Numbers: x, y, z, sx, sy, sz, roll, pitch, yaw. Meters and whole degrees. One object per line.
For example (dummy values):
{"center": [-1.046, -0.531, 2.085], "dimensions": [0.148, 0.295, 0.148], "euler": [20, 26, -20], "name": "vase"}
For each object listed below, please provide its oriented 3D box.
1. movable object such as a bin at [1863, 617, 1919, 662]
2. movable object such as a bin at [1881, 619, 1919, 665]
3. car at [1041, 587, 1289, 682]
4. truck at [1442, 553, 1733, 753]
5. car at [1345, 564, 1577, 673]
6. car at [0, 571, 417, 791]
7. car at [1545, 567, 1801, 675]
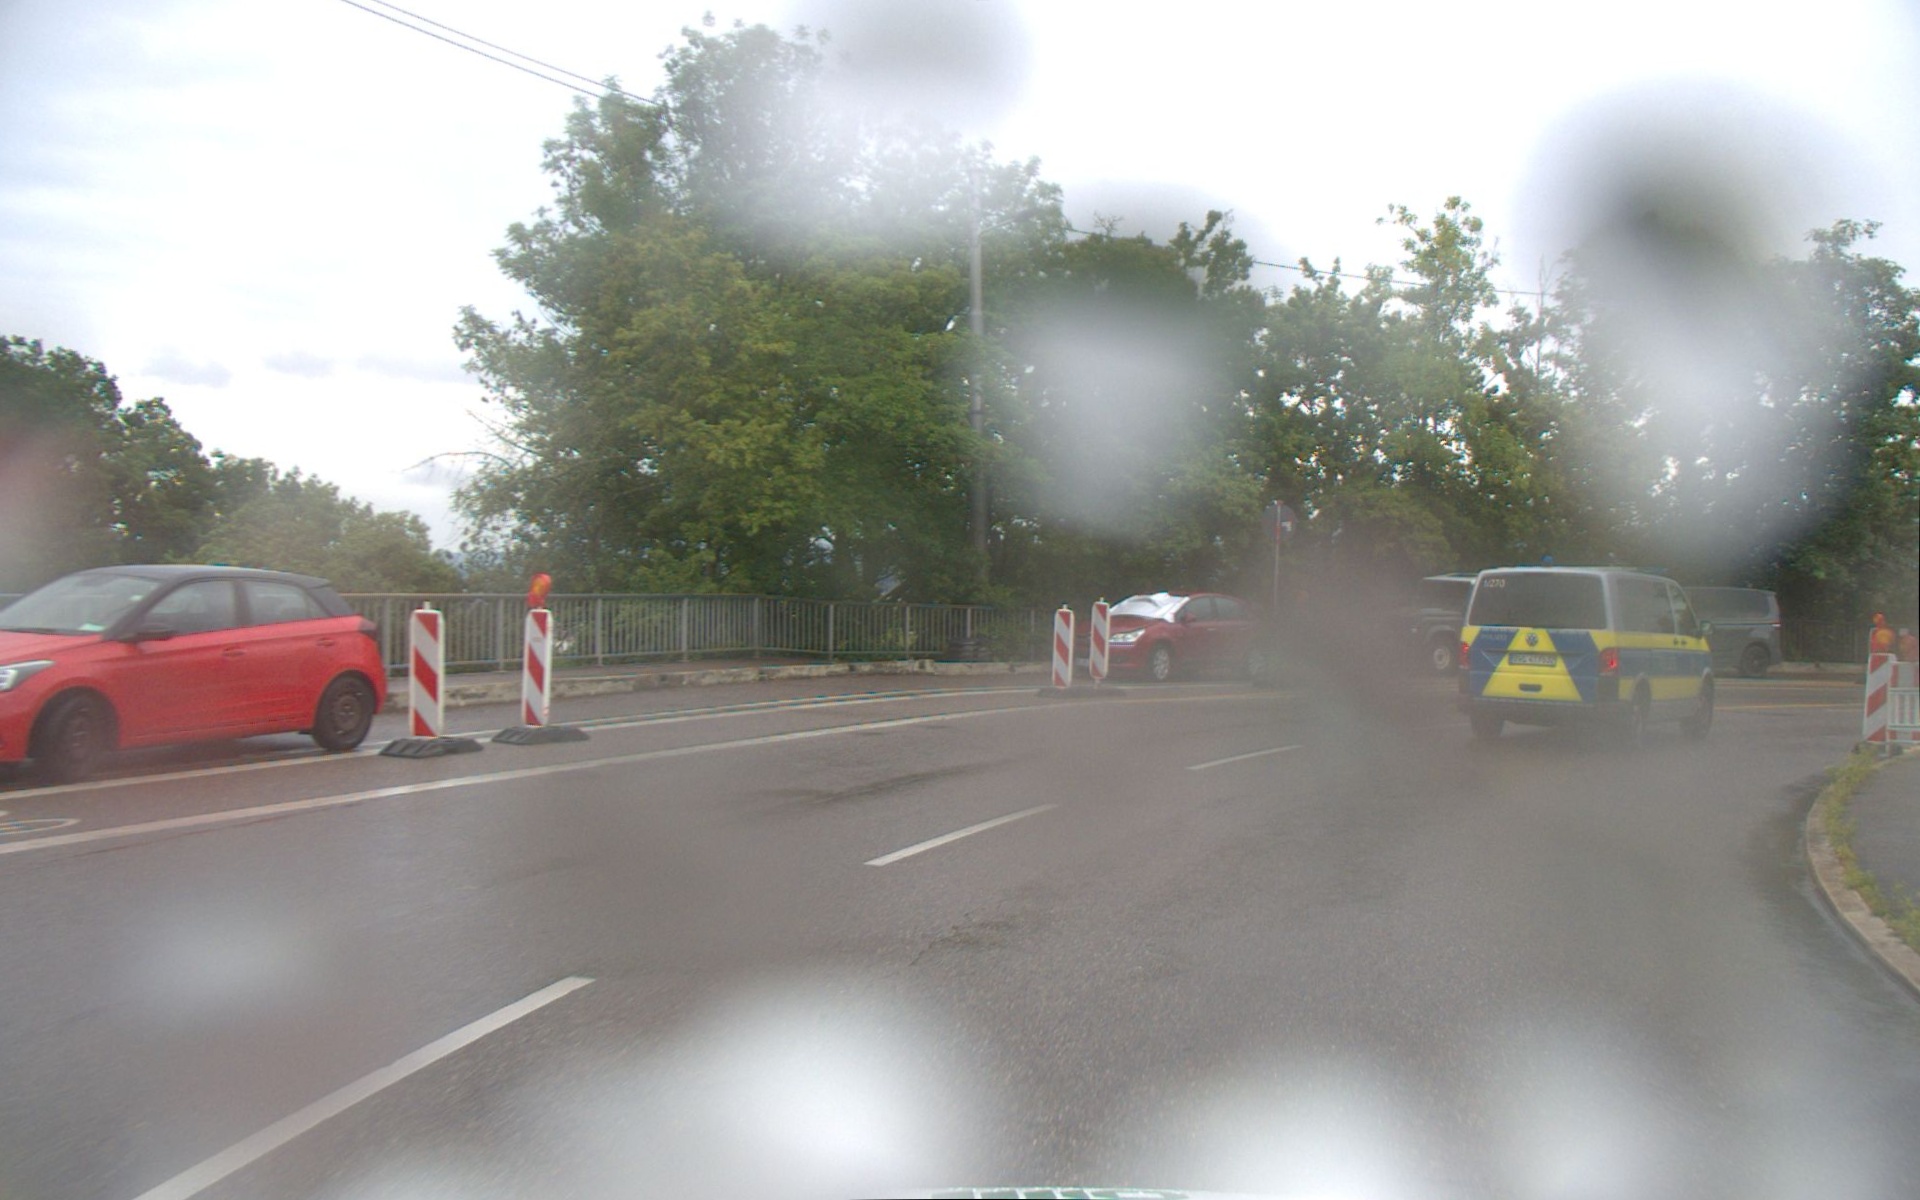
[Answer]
{"center": [24.118, 1.017, 42.775], "dimensions": [1.003, 1.126, 0.989], "euler": [1, 0, 1], "name": "movable object such as a bin"}
{"center": [24.029, 1.064, 41.724], "dimensions": [1.003, 1.126, 0.989], "euler": [3, 0, 1], "name": "movable object such as a bin"}
{"center": [3.588, 0.564, 28.468], "dimensions": [4.287, 1.465, 1.936], "euler": [1, 1, -43], "name": "car"}
{"center": [7.488, 0.572, 19.441], "dimensions": [1.961, 2.049, 4.714], "euler": [0, -1, 37], "name": "truck"}
{"center": [10.219, 0.365, 33.624], "dimensions": [4.752, 2.048, 1.851], "euler": [1, 2, -33], "name": "car"}
{"center": [-6.261, 0.540, 12.698], "dimensions": [1.651, 1.422, 4.135], "euler": [1, -1, 23], "name": "car"}
{"center": [15.333, 0.449, 35.619], "dimensions": [4.853, 2.048, 1.992], "euler": [2, 2, -16], "name": "car"}
